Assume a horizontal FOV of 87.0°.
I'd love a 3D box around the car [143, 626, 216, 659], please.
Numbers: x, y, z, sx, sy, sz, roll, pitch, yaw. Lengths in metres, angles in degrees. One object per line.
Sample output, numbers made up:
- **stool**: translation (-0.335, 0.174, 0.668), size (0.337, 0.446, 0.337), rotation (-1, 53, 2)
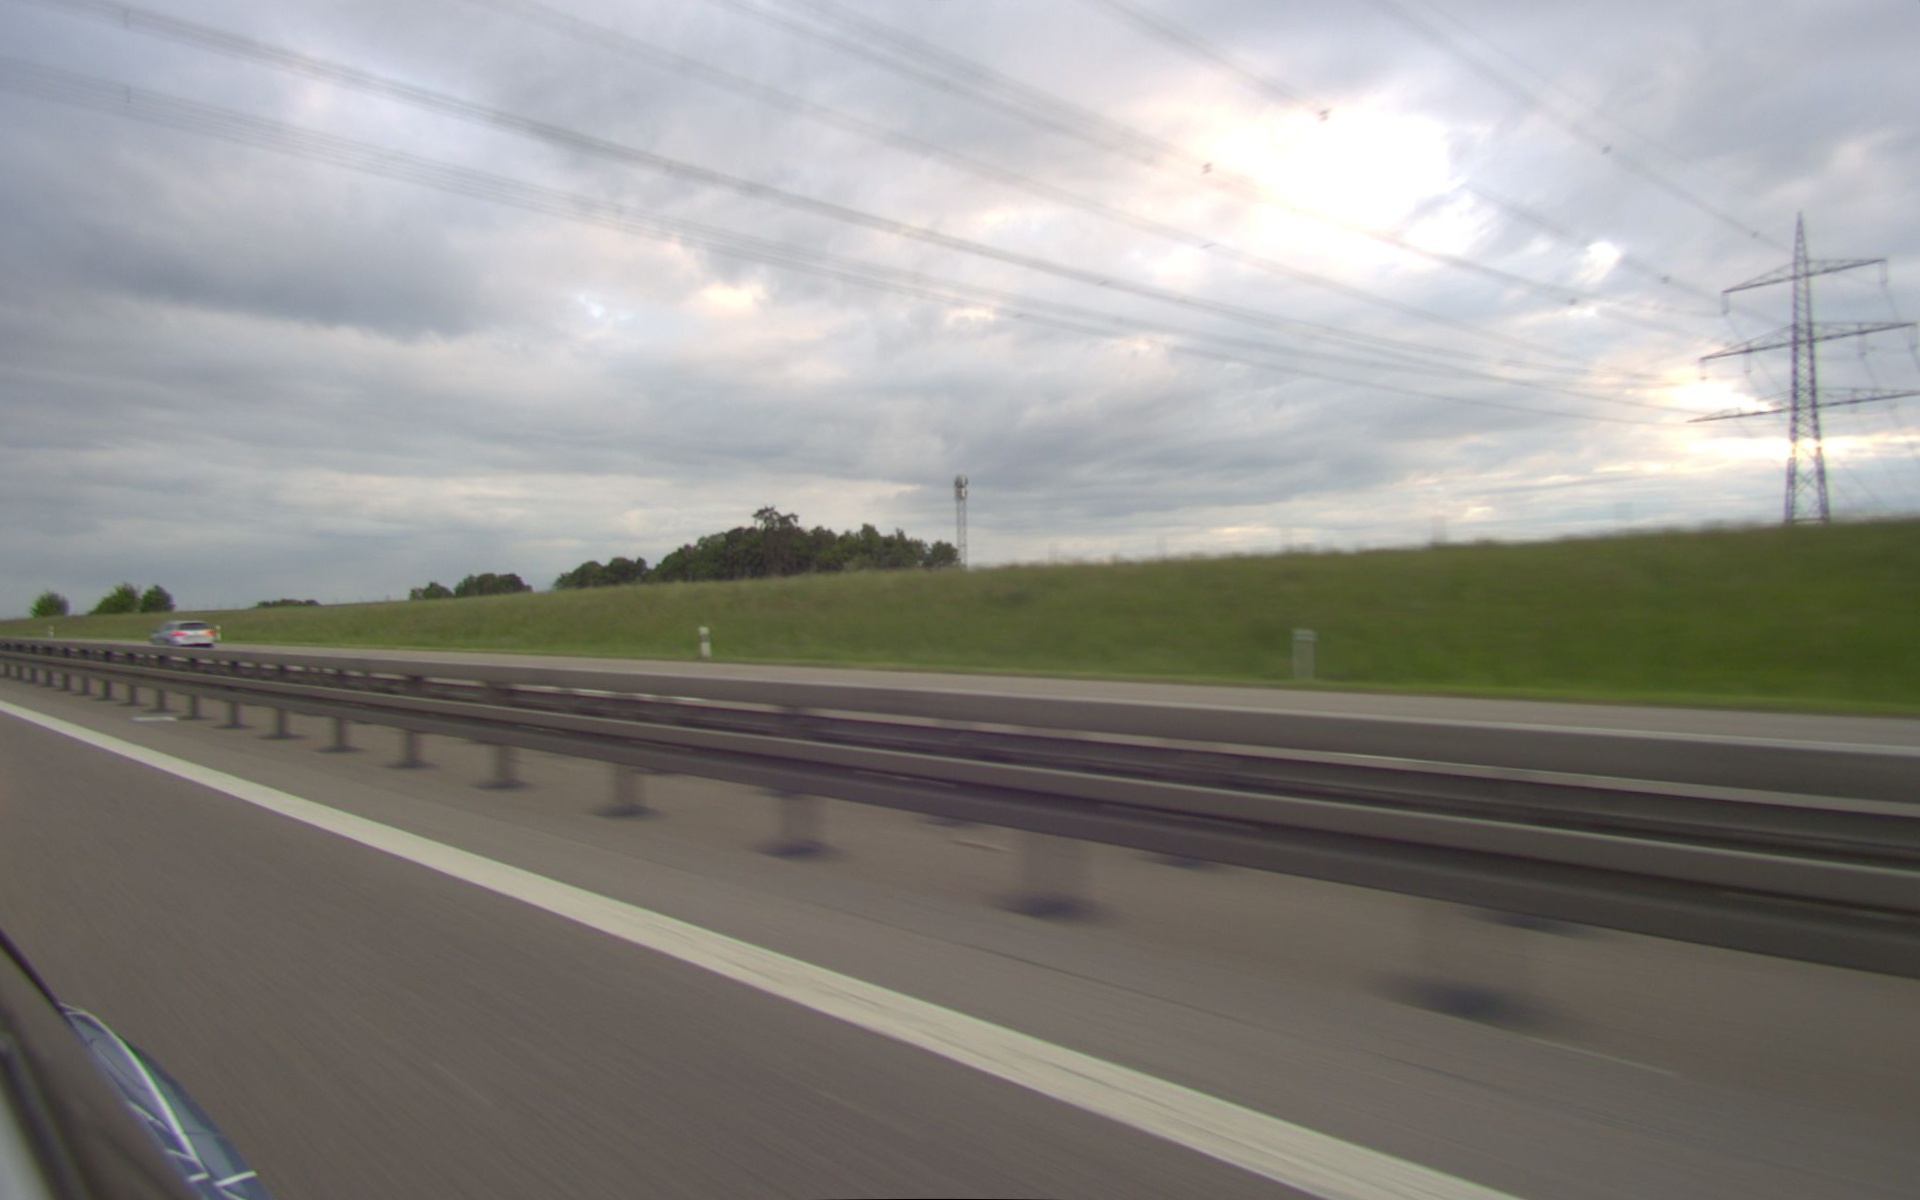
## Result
- **car**: translation (-38.380, 2.059, 49.728), size (5.330, 1.493, 1.747), rotation (-2, 0, 41)
